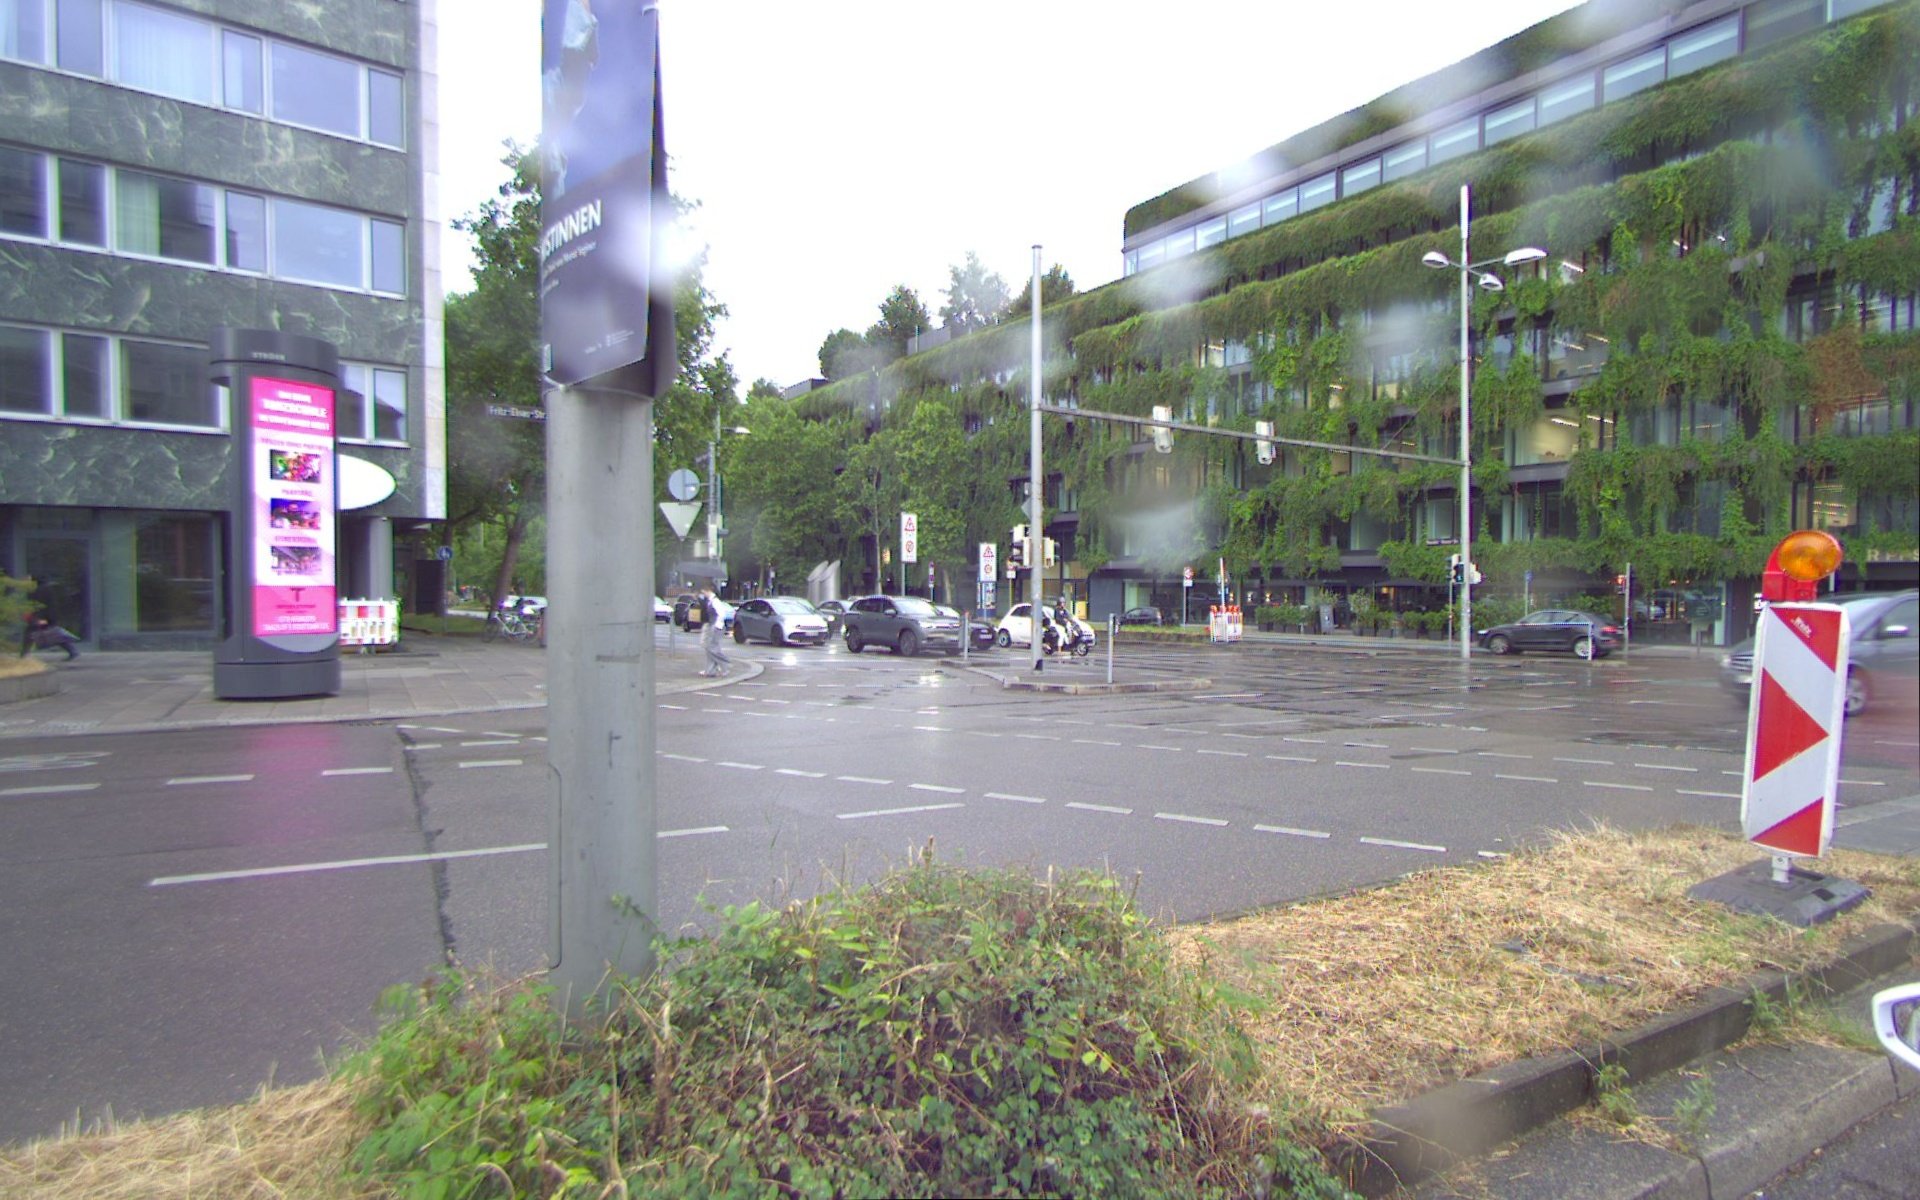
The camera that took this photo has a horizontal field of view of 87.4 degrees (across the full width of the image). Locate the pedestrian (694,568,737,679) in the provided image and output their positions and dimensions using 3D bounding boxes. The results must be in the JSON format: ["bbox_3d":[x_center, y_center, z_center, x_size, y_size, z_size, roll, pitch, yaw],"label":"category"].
[{"bbox_3d":[-4.573,0.443,18.816,0.715,2.040,0.598,1,0,-10],"label":"pedestrian"}]

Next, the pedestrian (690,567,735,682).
[{"bbox_3d":[-4.474,0.439,18.194,0.715,2.040,0.598,1,0,-10],"label":"pedestrian"}]

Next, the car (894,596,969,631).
[{"bbox_3d":[-1.558,0.699,53.123,1.838,1.692,3.951,2,0,-42],"label":"car"}]

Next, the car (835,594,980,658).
[{"bbox_3d":[-1.601,0.699,29.162,1.984,1.709,4.314,1,0,-41],"label":"car"}]

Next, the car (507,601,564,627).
[{"bbox_3d":[-24.147,0.783,57.069,1.982,1.389,4.131,1,0,-37],"label":"car"}]

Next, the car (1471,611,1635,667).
[{"bbox_3d":[19.914,1.273,33.841,1.985,1.660,4.364,2,0,-42],"label":"car"}]

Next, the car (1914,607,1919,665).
[{"bbox_3d":[27.784,1.017,25.836,1.799,1.532,4.636,2,0,-45],"label":"car"}]

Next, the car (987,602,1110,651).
[{"bbox_3d":[2.881,0.853,33.464,1.981,1.495,3.958,1,0,-37],"label":"car"}]

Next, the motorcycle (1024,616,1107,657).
[{"bbox_3d":[3.031,1.045,29.079,2.331,1.068,0.830,2,0,41],"label":"motorcycle"}]

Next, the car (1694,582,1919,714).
[{"bbox_3d":[14.813,0.718,15.904,4.866,1.953,2.000,0,0,2],"label":"car"}]

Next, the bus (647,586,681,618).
[{"bbox_3d":[-32.457,0.141,110.096,1.783,3.385,5.922,2,0,-34],"label":"bus"}]

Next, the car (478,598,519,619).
[{"bbox_3d":[-34.483,0.636,74.949,1.918,1.544,4.057,1,0,-38],"label":"car"}]

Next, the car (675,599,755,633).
[{"bbox_3d":[-10.948,0.691,44.797,1.982,1.389,4.131,1,0,-37],"label":"car"}]

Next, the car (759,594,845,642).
[{"bbox_3d":[-6.284,0.680,39.668,1.841,1.791,4.139,1,0,-32],"label":"car"}]

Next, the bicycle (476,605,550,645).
[{"bbox_3d":[-12.290,0.678,27.632,1.765,1.066,0.581,1,0,-35],"label":"bicycle"}]

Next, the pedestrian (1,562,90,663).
[{"bbox_3d":[-16.478,0.221,18.133,1.022,1.757,1.195,2,0,-37],"label":"pedestrian"}]

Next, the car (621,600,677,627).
[{"bbox_3d":[-18.682,0.783,60.207,1.918,1.544,4.057,1,0,-38],"label":"car"}]

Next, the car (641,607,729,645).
[{"bbox_3d":[-10.893,1.002,39.622,1.982,1.389,4.131,1,0,-37],"label":"car"}]

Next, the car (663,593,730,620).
[{"bbox_3d":[-13.922,0.336,52.922,1.982,1.389,4.131,1,0,-37],"label":"car"}]

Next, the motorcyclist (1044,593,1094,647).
[{"bbox_3d":[3.142,0.578,28.991,1.153,1.492,0.832,2,0,40],"label":"motorcyclist"}]

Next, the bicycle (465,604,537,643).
[{"bbox_3d":[-12.968,0.663,28.409,1.765,1.066,0.581,1,0,-35],"label":"bicycle"}]

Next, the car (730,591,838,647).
[{"bbox_3d":[-6.009,0.596,34.033,1.982,1.773,3.956,1,0,-38],"label":"car"}]

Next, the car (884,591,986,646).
[{"bbox_3d":[-0.999,0.668,37.762,1.978,1.923,4.139,1,0,-33],"label":"car"}]

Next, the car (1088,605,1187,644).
[{"bbox_3d":[8.375,1.152,47.683,1.985,1.660,4.364,2,0,-41],"label":"car"}]

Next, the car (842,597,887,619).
[{"bbox_3d":[-7.363,0.594,77.244,1.783,1.588,3.962,2,0,-34],"label":"car"}]

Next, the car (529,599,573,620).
[{"bbox_3d":[-31.023,0.710,76.158,1.919,1.544,4.054,1,0,-40],"label":"car"}]

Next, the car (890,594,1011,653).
[{"bbox_3d":[-0.358,0.706,32.509,1.981,1.773,3.958,1,0,-37],"label":"car"}]
